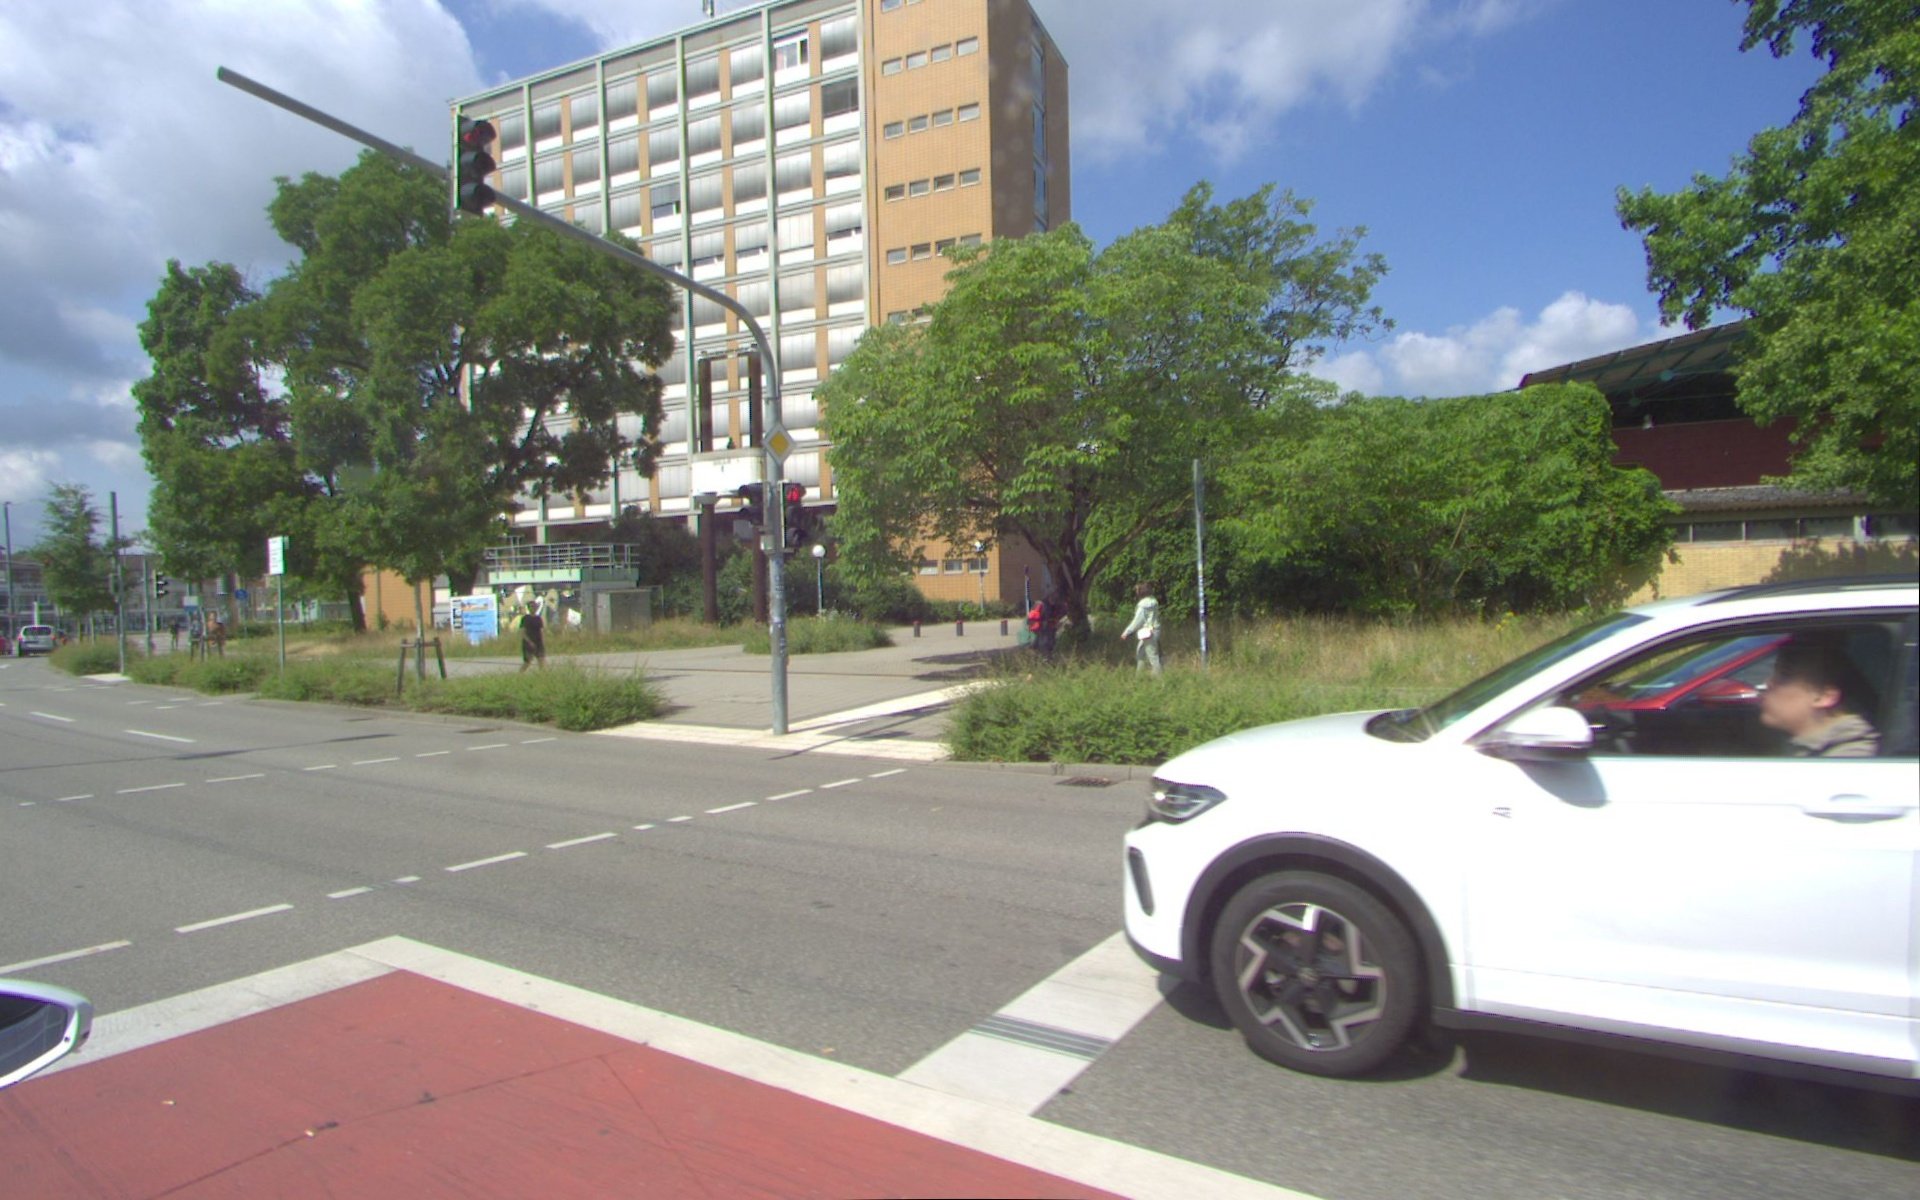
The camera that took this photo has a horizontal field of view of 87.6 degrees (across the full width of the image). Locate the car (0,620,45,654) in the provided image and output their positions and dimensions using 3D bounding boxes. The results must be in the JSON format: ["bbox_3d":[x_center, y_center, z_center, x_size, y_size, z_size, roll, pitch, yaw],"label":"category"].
[{"bbox_3d":[-58.730,2.260,62.385,1.973,1.964,4.605,-2,1,-37],"label":"car"}]

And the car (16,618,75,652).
[{"bbox_3d":[-53.273,2.025,58.389,1.974,1.819,3.973,-2,1,-35],"label":"car"}]

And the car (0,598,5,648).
[{"bbox_3d":[-54.383,1.318,54.985,2.110,2.818,4.605,-2,1,-37],"label":"car"}]

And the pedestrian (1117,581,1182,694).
[{"bbox_3d":[2.890,0.559,15.240,0.710,1.660,0.866,-1,1,31],"label":"pedestrian"}]

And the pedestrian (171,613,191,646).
[{"bbox_3d":[-42.718,1.608,54.937,0.780,1.808,0.662,-2,1,-35],"label":"pedestrian"}]

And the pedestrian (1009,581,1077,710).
[{"bbox_3d":[1.185,0.622,14.170,0.669,1.759,0.740,-1,1,33],"label":"pedestrian"}]

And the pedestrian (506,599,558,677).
[{"bbox_3d":[-8.617,0.752,20.174,0.544,1.528,0.768,0,1,34],"label":"pedestrian"}]

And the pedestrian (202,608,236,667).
[{"bbox_3d":[-22.460,1.124,30.360,0.570,1.756,0.657,0,1,37],"label":"pedestrian"}]

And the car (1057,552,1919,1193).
[{"bbox_3d":[2.496,0.686,3.380,3.951,1.559,1.789,-1,-1,30],"label":"car"}]

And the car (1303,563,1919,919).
[{"bbox_3d":[4.387,0.669,5.693,4.395,1.663,1.679,-1,0,29],"label":"car"}]

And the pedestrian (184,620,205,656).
[{"bbox_3d":[-39.283,1.925,51.363,0.781,1.808,0.661,-2,1,-40],"label":"pedestrian"}]
